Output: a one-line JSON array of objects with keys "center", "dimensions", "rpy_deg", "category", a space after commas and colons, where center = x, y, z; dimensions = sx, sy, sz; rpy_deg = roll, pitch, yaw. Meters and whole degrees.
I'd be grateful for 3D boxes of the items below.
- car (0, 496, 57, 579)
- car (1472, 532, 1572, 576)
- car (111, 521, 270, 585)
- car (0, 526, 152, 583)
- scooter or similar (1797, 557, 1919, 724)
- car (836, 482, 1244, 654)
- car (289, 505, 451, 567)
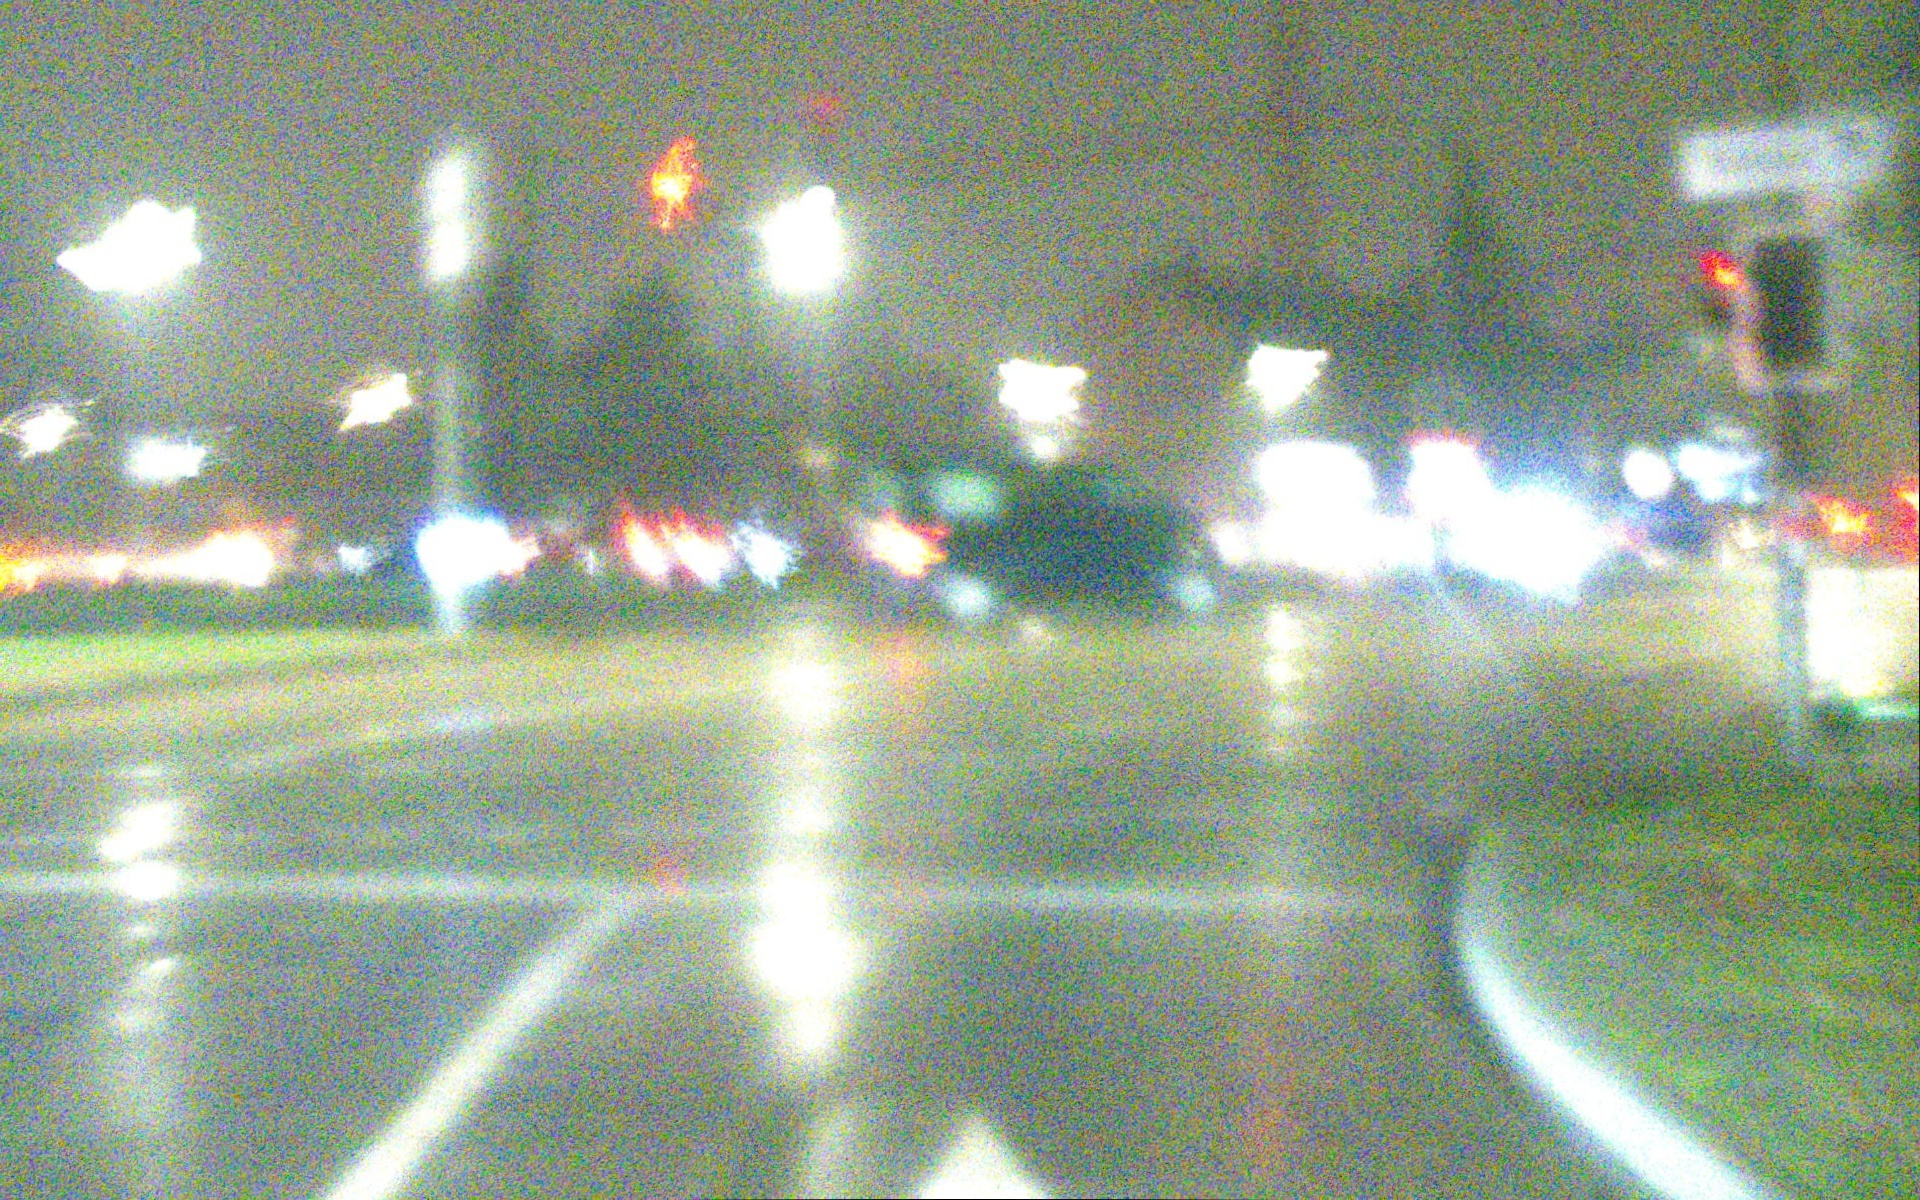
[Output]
[{"center": [-26.311, -1.598, 87.062], "dimensions": [6.292, 2.082, 2.516], "rpy_deg": [0, 1, -25], "category": "car"}, {"center": [22.634, -1.855, 138.315], "dimensions": [1.998, 1.730, 4.609], "rpy_deg": [1, 2, 38], "category": "car"}, {"center": [-19.972, -1.223, 89.231], "dimensions": [3.986, 1.610, 1.837], "rpy_deg": [0, 1, -13], "category": "car"}, {"center": [-23.909, -1.234, 92.761], "dimensions": [3.986, 1.481, 1.770], "rpy_deg": [0, 1, -9], "category": "car"}, {"center": [6.159, 0.266, 22.824], "dimensions": [1.102, 1.094, 0.317], "rpy_deg": [-1, 0, 27], "category": "scooter or similar"}, {"center": [0.960, -0.401, 41.844], "dimensions": [4.541, 2.007, 2.001], "rpy_deg": [0, 1, -20], "category": "car"}, {"center": [-15.293, -1.664, 89.179], "dimensions": [3.951, 1.573, 1.737], "rpy_deg": [0, 1, -2], "category": "car"}]
